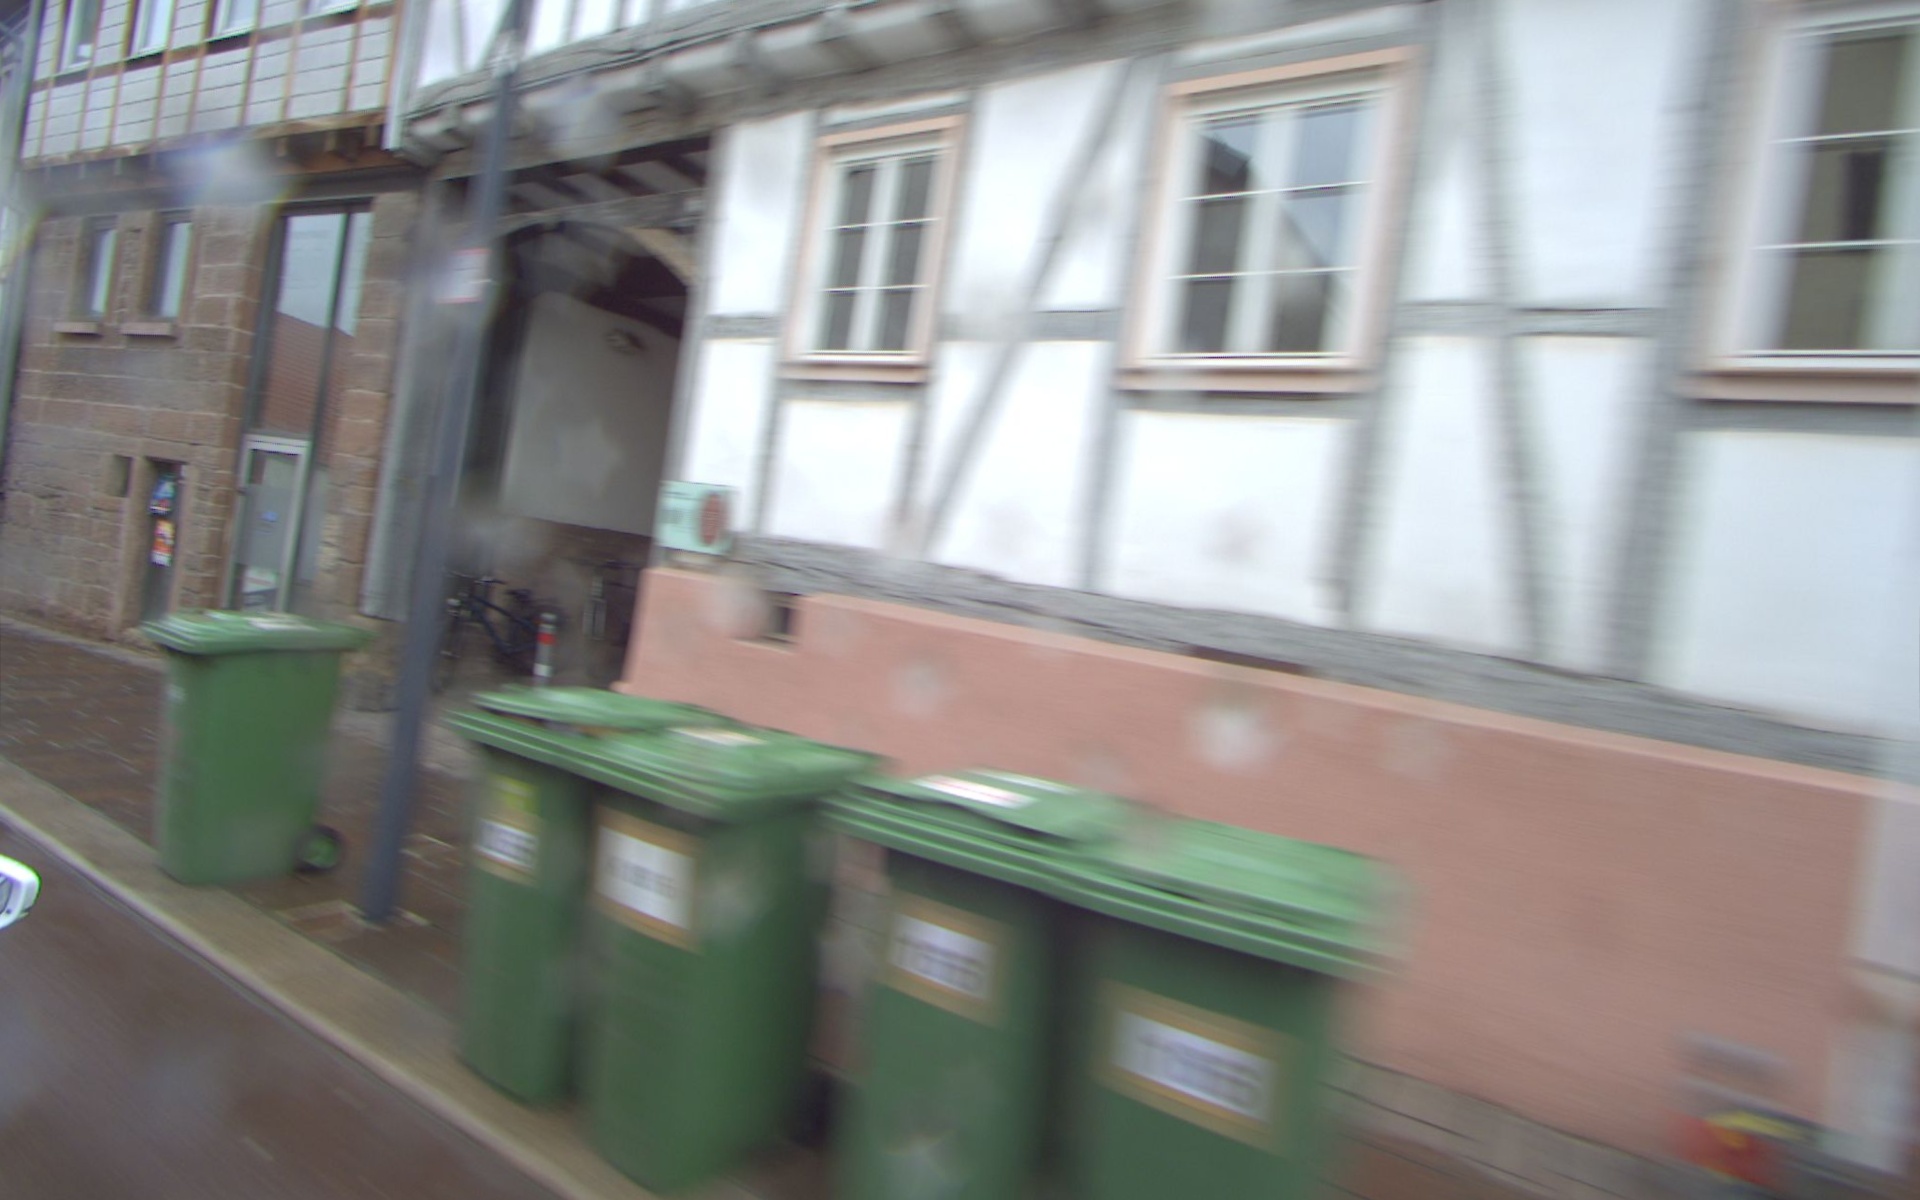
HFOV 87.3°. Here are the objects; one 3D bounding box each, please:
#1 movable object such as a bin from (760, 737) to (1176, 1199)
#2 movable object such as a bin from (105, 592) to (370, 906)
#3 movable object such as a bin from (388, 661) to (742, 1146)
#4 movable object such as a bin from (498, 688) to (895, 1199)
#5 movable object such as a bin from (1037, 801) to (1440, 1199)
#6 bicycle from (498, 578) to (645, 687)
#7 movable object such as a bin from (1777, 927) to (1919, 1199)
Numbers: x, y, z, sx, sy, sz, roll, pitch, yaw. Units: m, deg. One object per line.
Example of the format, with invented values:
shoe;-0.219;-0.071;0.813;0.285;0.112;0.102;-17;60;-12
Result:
movable object such as a bin;0.036;0.956;2.350;0.621;1.160;0.639;7;-1;30
movable object such as a bin;-3.020;0.594;4.227;0.589;1.141;0.610;7;-1;32
movable object such as a bin;-1.152;0.812;2.973;0.571;1.160;0.638;7;-1;37
movable object such as a bin;-0.673;0.863;2.631;0.594;1.160;0.638;7;-1;37
movable object such as a bin;0.574;1.040;2.051;0.578;1.094;0.670;6;0;30
bicycle;-3.661;0.278;9.572;0.288;0.896;1.399;9;8;31
movable object such as a bin;1.634;1.158;1.415;0.639;1.109;0.680;8;-1;28
